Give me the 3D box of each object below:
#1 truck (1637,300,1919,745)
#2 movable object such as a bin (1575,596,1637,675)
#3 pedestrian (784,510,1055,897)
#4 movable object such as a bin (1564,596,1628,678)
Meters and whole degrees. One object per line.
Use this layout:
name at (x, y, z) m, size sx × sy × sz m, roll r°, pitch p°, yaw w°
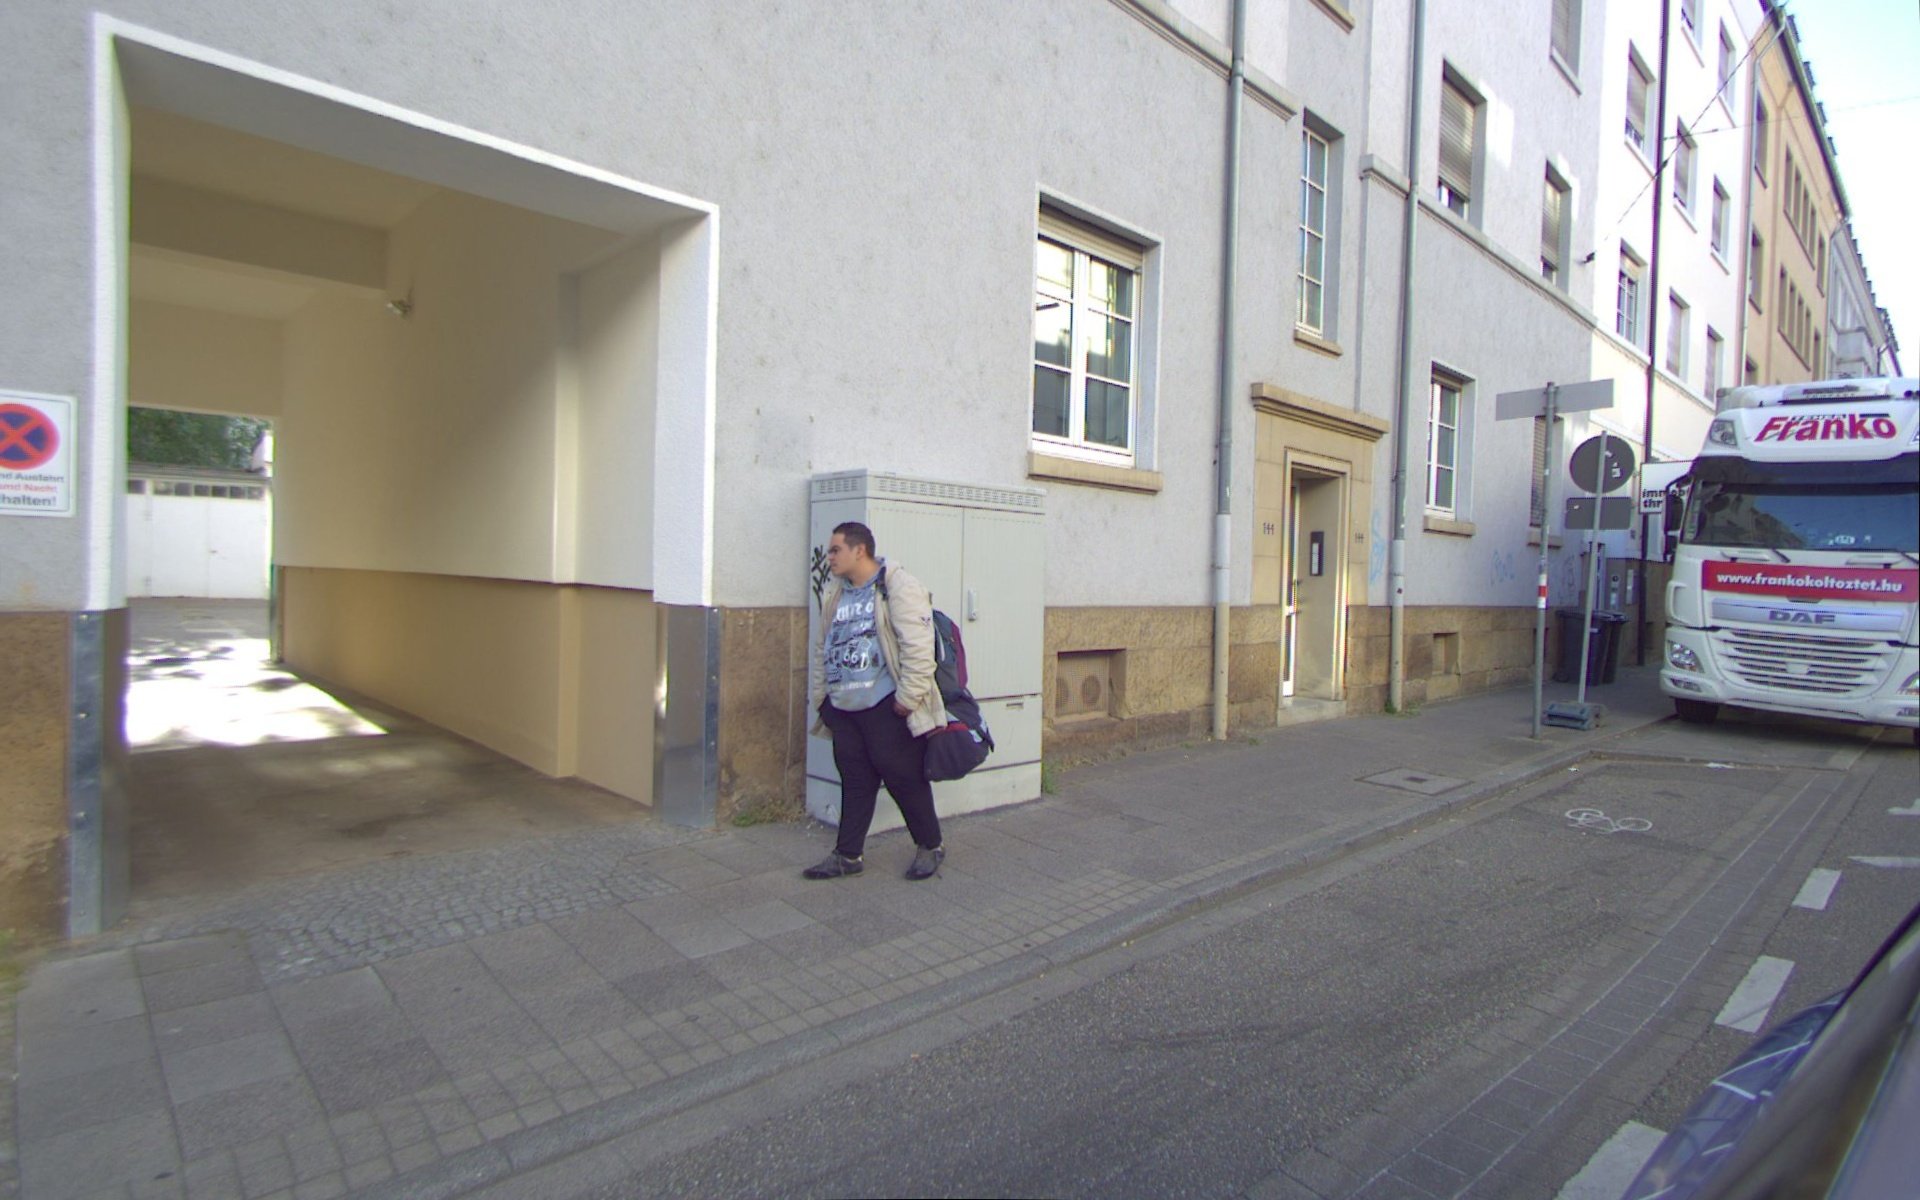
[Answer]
truck at (12.658, -0.759, 13.879) m, size 11.578 × 4.123 × 2.864 m, roll 0°, pitch 2°, yaw -43°
movable object such as a bin at (9.575, 0.510, 15.007) m, size 0.658 × 1.118 × 0.533 m, roll 2°, pitch 2°, yaw 44°
pedestrian at (-0.192, 0.394, 4.650) m, size 0.854 × 1.552 × 0.827 m, roll 0°, pitch 3°, yaw -42°
movable object such as a bin at (9.164, 0.516, 14.593) m, size 0.658 × 1.118 × 0.533 m, roll 2°, pitch 2°, yaw 44°
